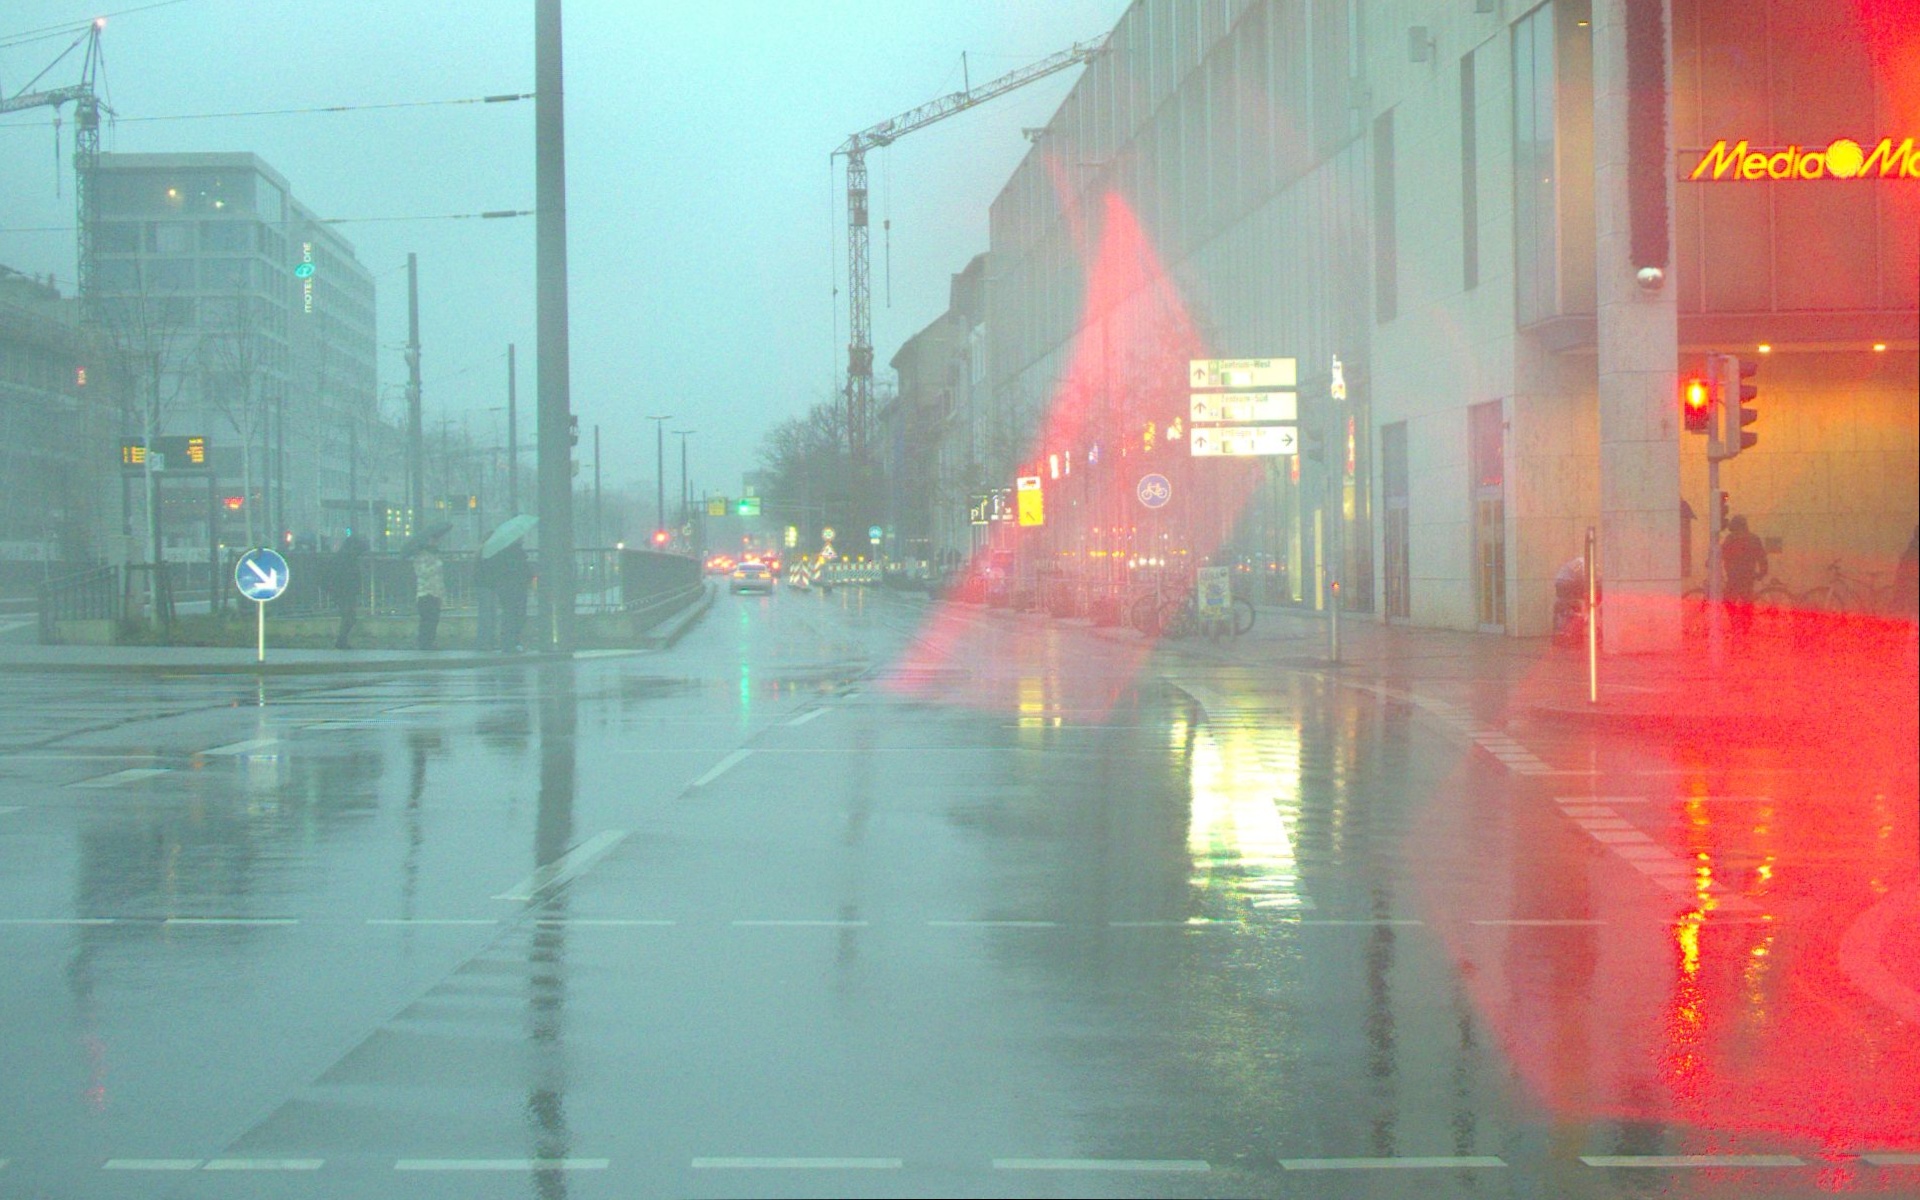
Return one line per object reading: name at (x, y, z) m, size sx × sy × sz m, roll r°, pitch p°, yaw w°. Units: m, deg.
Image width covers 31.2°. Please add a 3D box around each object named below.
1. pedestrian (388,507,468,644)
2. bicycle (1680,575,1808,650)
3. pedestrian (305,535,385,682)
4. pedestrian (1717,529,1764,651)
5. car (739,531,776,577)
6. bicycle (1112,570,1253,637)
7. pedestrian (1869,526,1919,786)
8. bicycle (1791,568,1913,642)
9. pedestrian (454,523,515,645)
pedestrian at (-7.183, -0.325, 46.403) m, size 0.821 × 1.825 × 0.786 m, roll 1°, pitch 0°, yaw -31°
bicycle at (11.466, 0.184, 50.333) m, size 1.768 × 1.066 × 0.524 m, roll 1°, pitch 0°, yaw 8°
pedestrian at (-8.480, 0.109, 47.399) m, size 0.785 × 2.007 × 0.726 m, roll 1°, pitch 1°, yaw 42°
pedestrian at (11.309, -0.147, 49.833) m, size 0.600 × 1.739 × 0.524 m, roll 1°, pitch 0°, yaw 8°
car at (-8.976, -2.034, 152.438) m, size 1.577 × 2.007 × 3.172 m, roll -1°, pitch 1°, yaw -3°
bicycle at (3.983, 0.063, 61.621) m, size 2.442 × 1.150 × 0.674 m, roll -1°, pitch 0°, yaw -1°
pedestrian at (9.082, 0.522, 32.527) m, size 0.714 × 2.433 × 0.758 m, roll 1°, pitch 0°, yaw -1°
bicycle at (13.184, 0.068, 50.810) m, size 1.646 × 1.066 × 0.525 m, roll 1°, pitch 0°, yaw -4°
pedestrian at (-6.637, -0.226, 47.984) m, size 0.612 × 1.680 × 0.577 m, roll 1°, pitch 1°, yaw 42°
